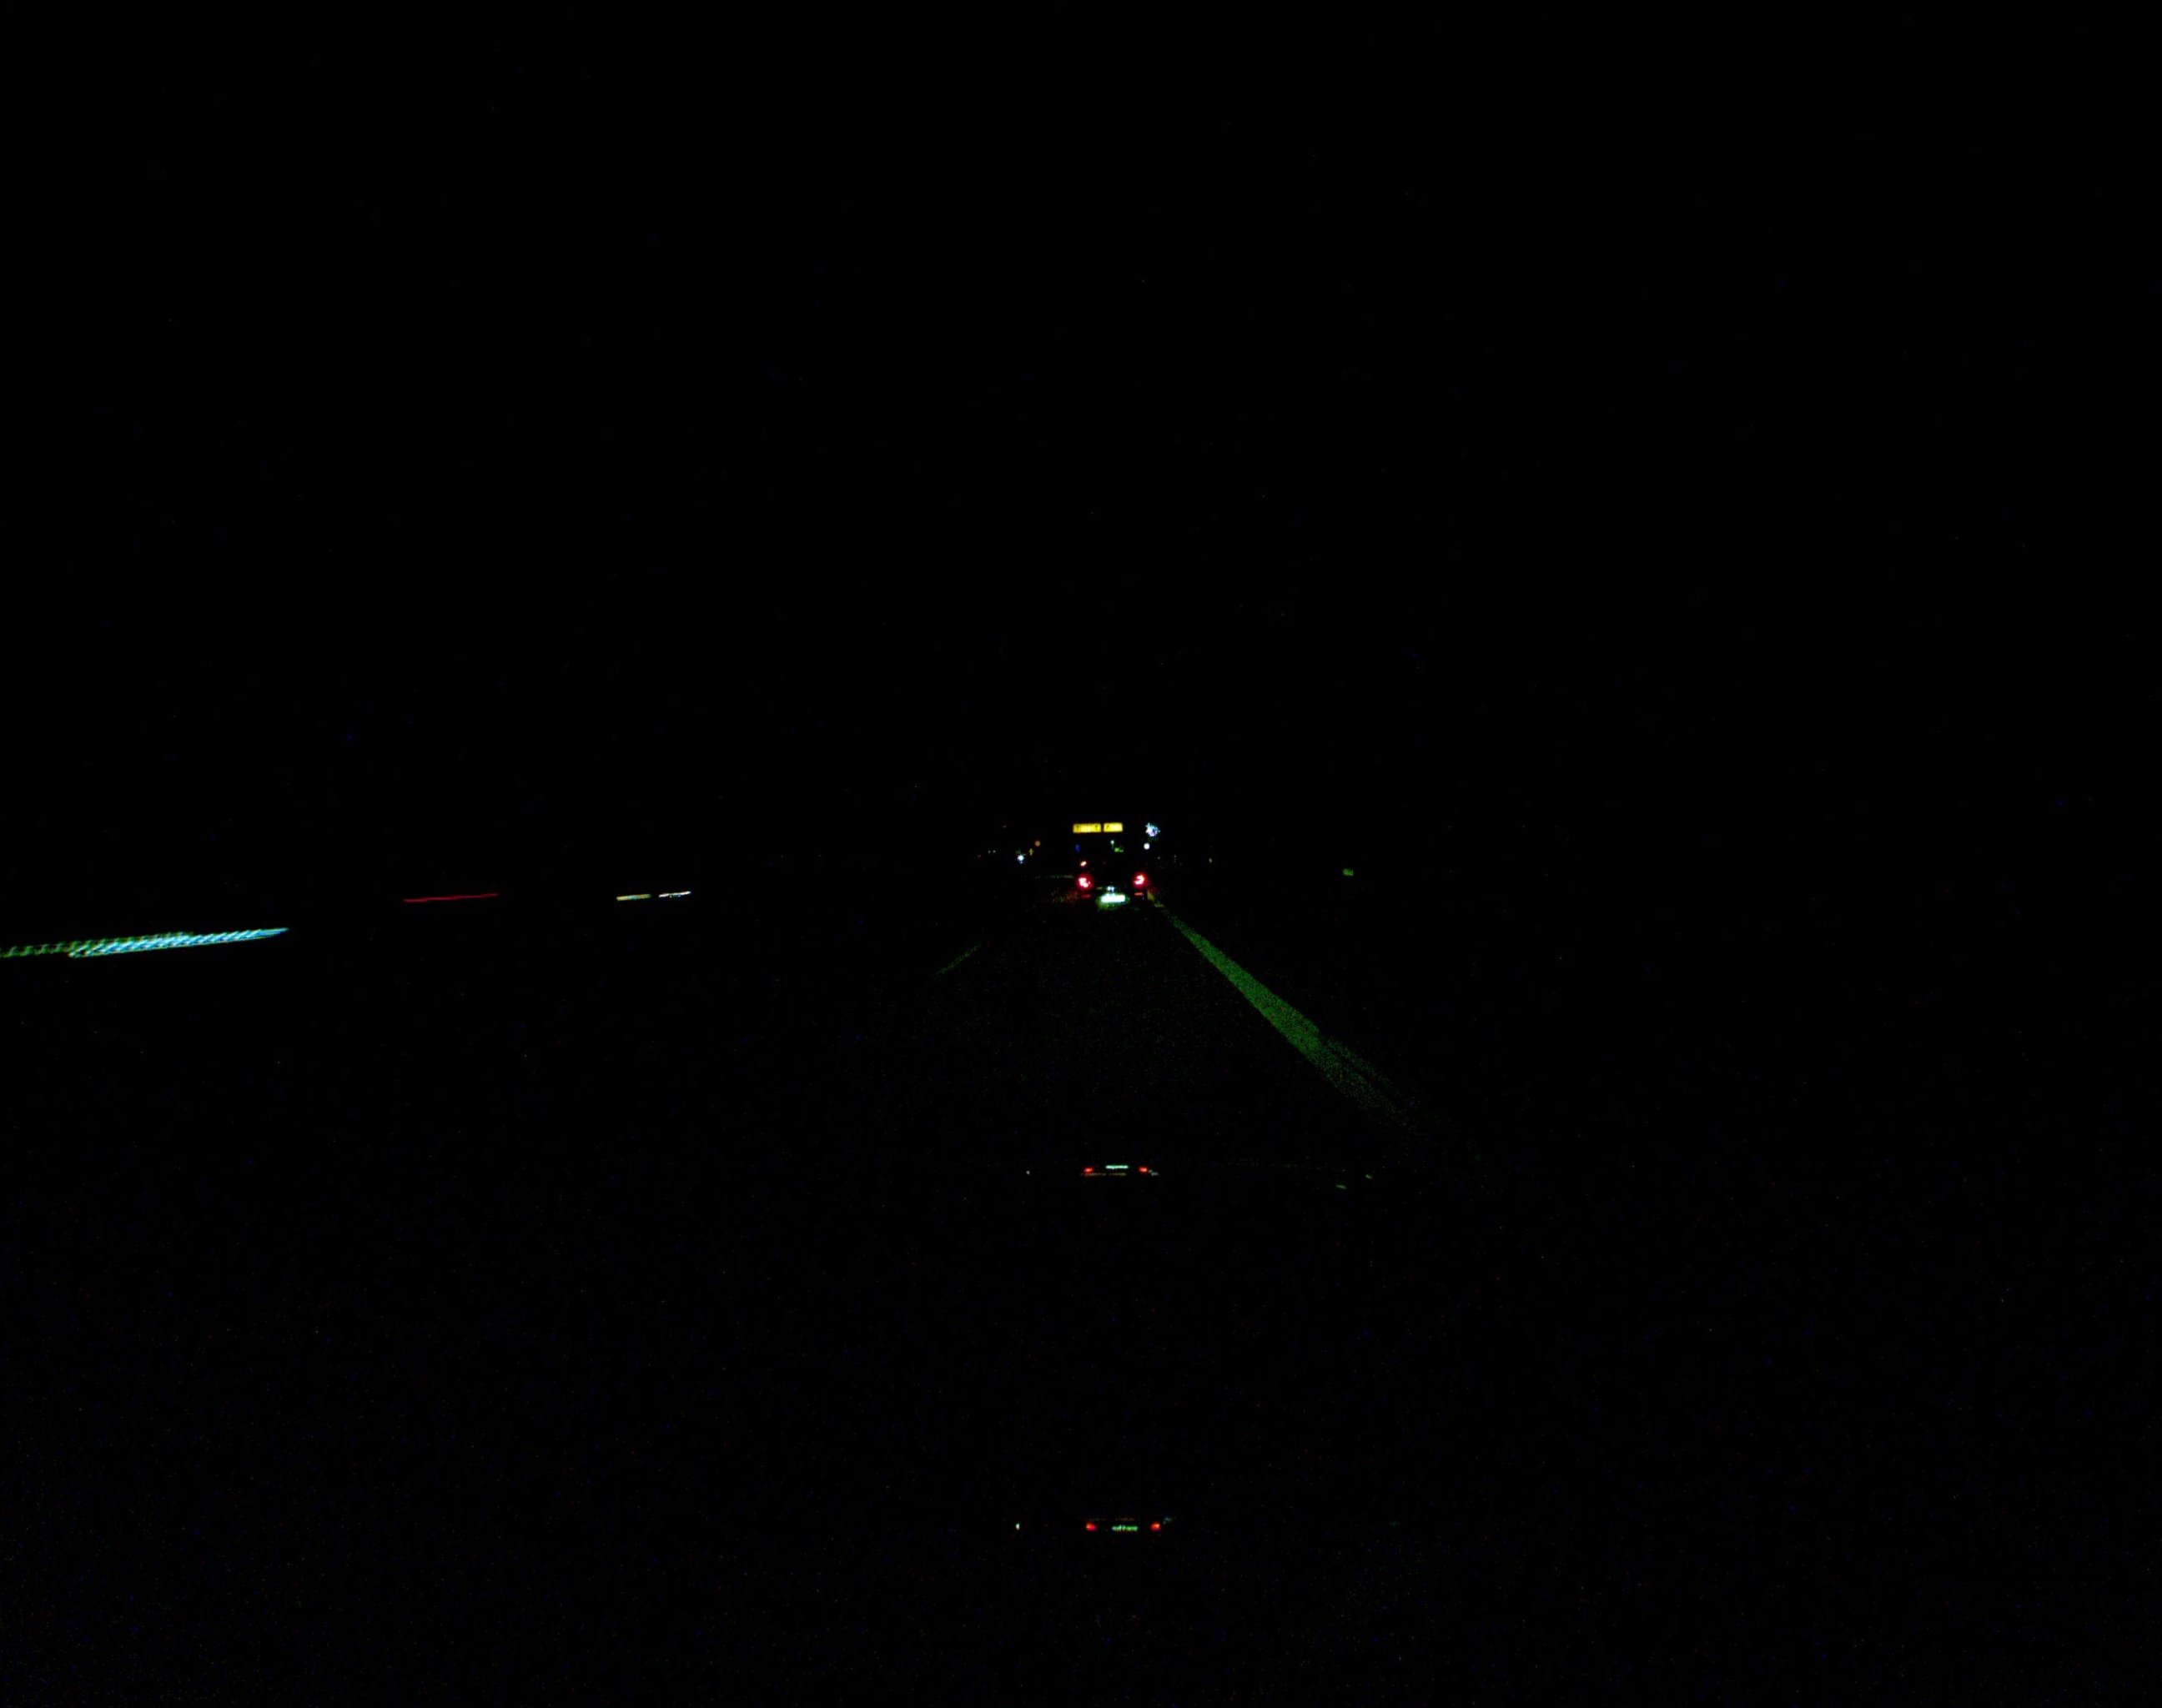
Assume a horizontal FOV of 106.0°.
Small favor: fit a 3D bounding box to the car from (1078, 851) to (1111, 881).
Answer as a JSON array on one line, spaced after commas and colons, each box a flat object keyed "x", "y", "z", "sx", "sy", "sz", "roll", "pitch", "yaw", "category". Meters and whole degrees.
[{"x": 0.842, "y": 0.725, "z": 50.832, "sx": 1.900, "sy": 1.698, "sz": 4.001, "roll": -1, "pitch": 1, "yaw": 1, "category": "car"}]

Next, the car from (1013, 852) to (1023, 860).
[{"x": -14.749, "y": 0.400, "z": 191.373, "sx": 1.960, "sy": 1.763, "sz": 5.032, "roll": -3, "pitch": 0, "yaw": 0, "category": "car"}]

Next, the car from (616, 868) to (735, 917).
[{"x": -14.844, "y": 1.366, "z": 30.121, "sx": 1.950, "sy": 1.457, "sz": 4.340, "roll": -3, "pitch": 0, "yaw": 3, "category": "car"}]

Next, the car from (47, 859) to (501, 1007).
[{"x": -12.217, "y": 1.039, "z": 13.032, "sx": 1.950, "sy": 1.733, "sz": 5.083, "roll": -3, "pitch": 0, "yaw": 3, "category": "car"}]

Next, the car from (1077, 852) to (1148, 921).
[{"x": 0.719, "y": 0.734, "z": 20.544, "sx": 1.583, "sy": 1.508, "sz": 3.999, "roll": -2, "pitch": 0, "yaw": 0, "category": "car"}]
